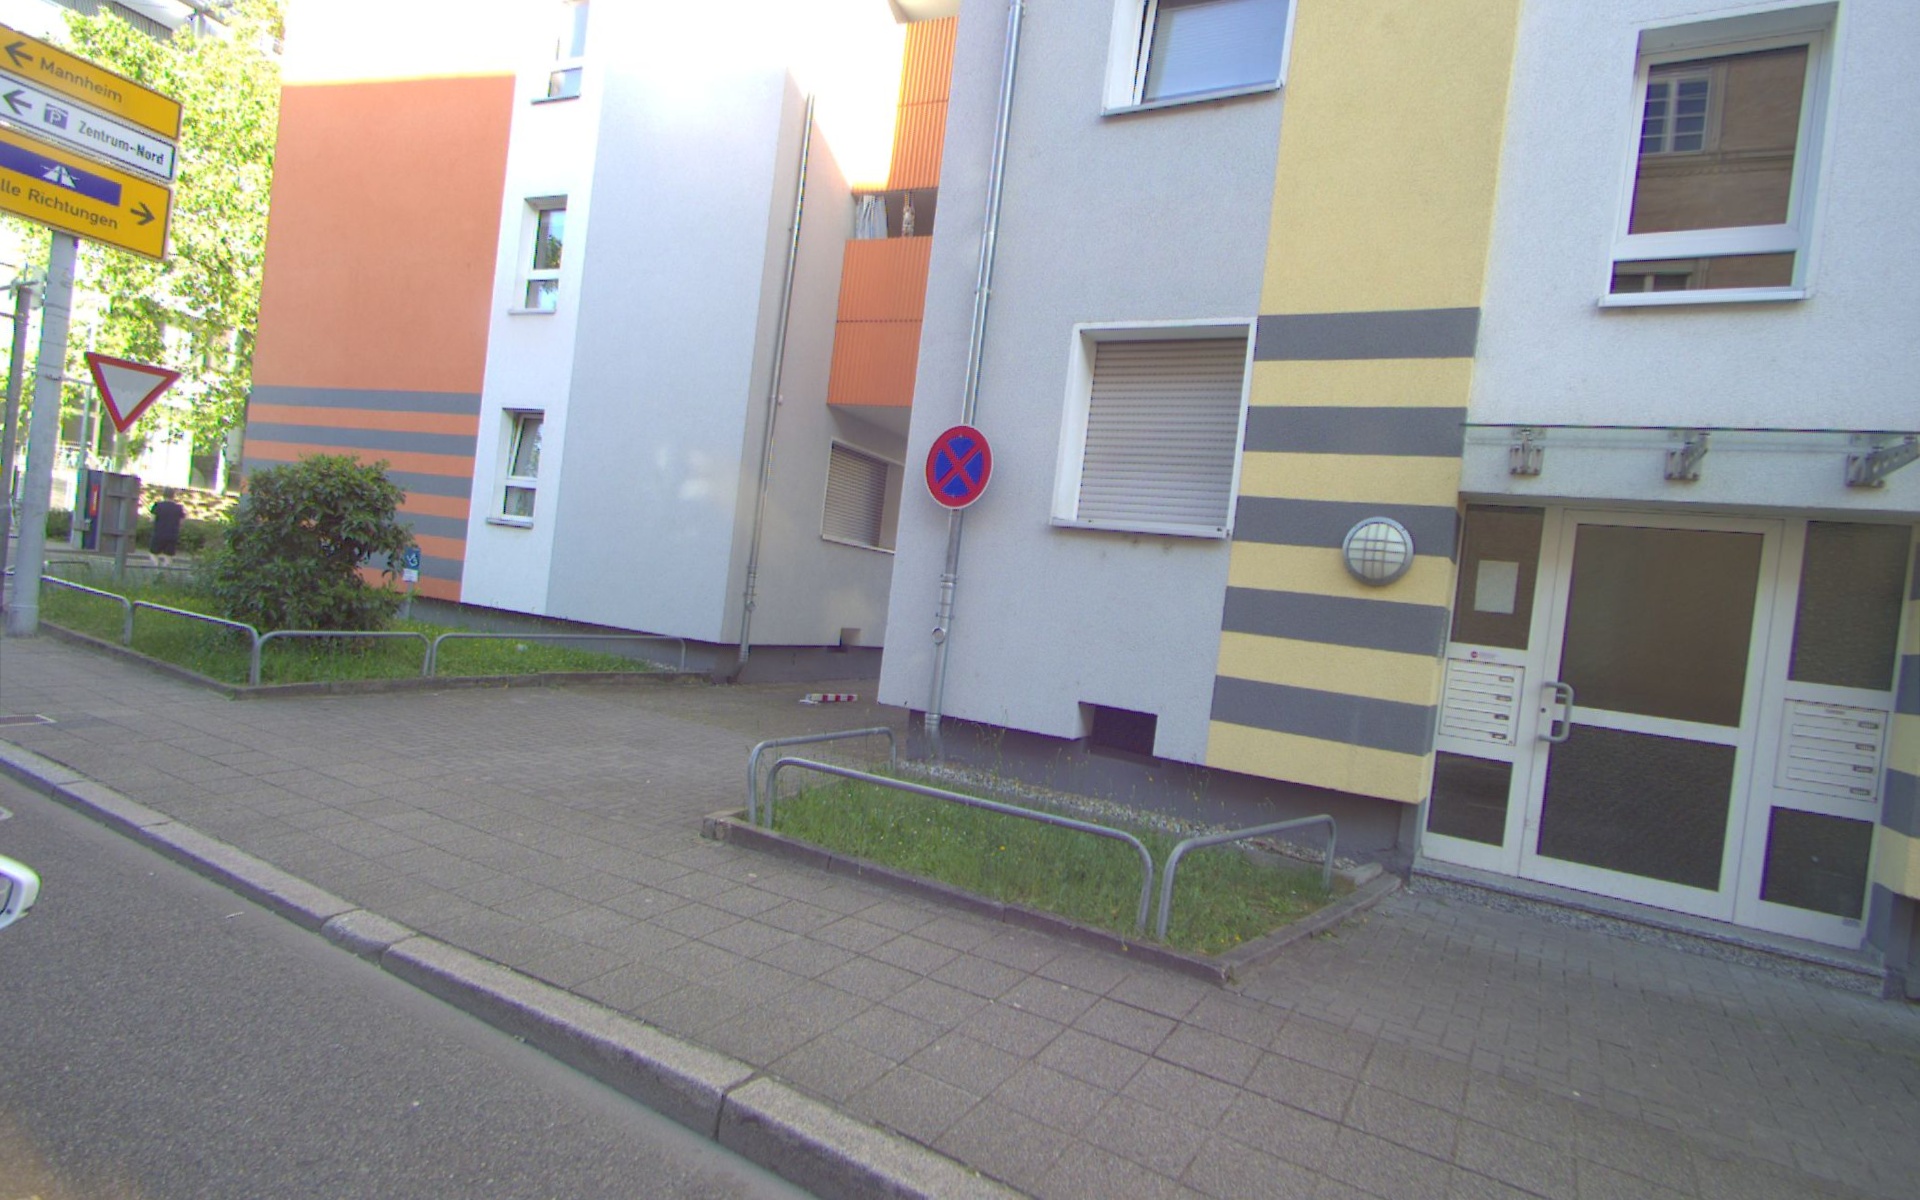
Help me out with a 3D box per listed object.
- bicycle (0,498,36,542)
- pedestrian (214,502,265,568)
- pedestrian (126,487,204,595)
[{"bbox_3d":[-26.279,-2.240,27.352,1.658,1.063,0.508,9,2,-3],"label":"bicycle"},{"bbox_3d":[-22.150,-2.003,30.939,0.696,1.861,0.837,8,-1,22],"label":"pedestrian"},{"bbox_3d":[-14.753,-1.086,18.678,0.823,1.861,0.708,8,0,32],"label":"pedestrian"}]
